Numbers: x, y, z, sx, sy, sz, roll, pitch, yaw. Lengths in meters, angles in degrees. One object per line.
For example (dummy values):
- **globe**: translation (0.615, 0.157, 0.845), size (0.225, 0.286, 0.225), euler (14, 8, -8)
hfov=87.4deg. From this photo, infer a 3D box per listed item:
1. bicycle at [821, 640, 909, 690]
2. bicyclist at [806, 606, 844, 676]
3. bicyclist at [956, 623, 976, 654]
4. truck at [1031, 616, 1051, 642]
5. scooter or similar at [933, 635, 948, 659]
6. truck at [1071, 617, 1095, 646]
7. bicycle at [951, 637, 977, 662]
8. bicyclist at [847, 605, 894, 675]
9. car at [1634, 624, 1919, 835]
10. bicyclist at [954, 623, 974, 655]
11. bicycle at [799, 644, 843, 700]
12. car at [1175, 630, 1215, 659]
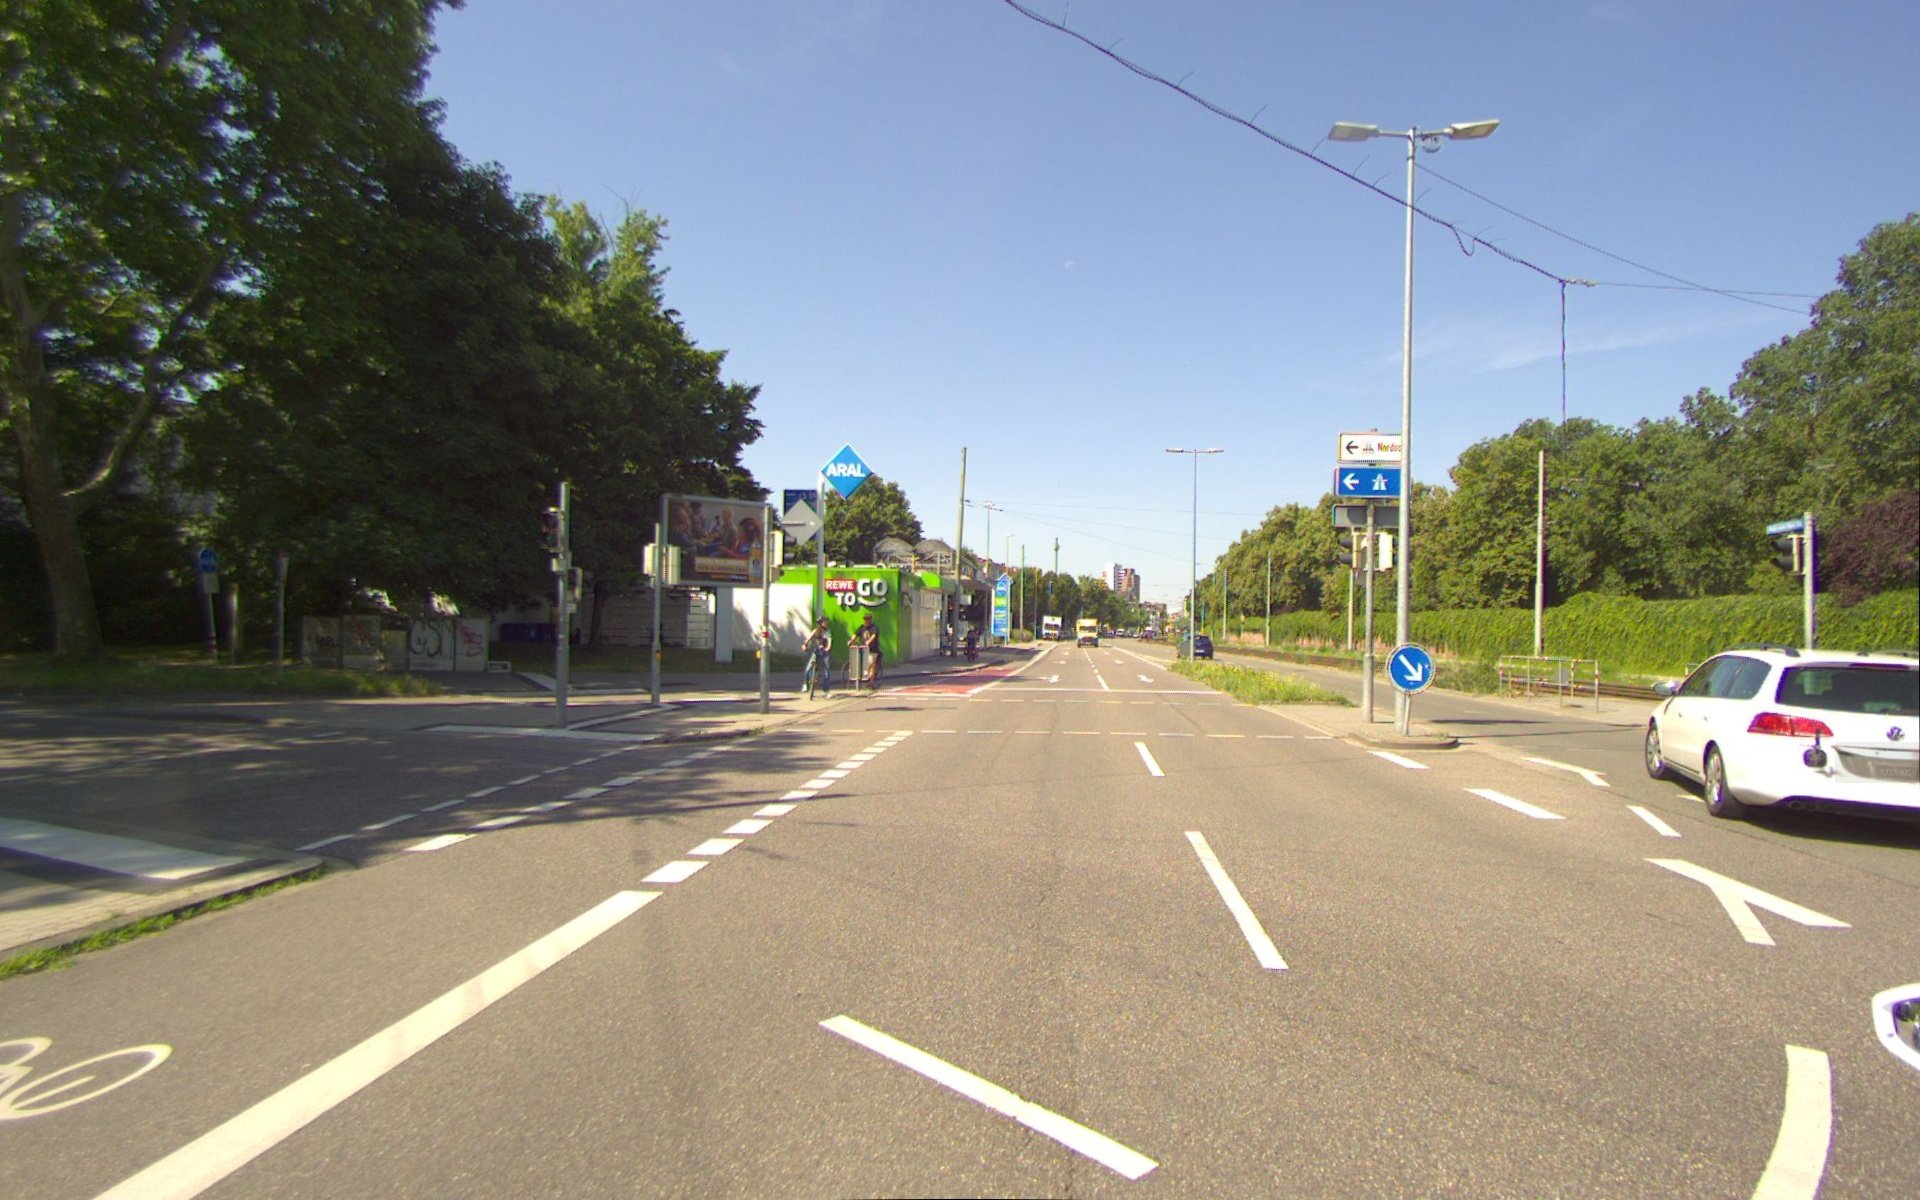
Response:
- **bicycle**: translation (-2.381, 1.619, 25.353), size (0.926, 1.190, 2.201), euler (0, -2, 39)
- **bicyclist**: translation (-2.872, 0.858, 21.448), size (0.696, 1.439, 0.739), euler (2, 0, -3)
- **bicyclist**: translation (0.296, 1.882, 48.921), size (0.832, 1.455, 0.833), euler (2, 0, 8)
- **truck**: translation (11.921, 4.339, 147.387), size (2.621, 3.576, 8.597), euler (2, -2, 6)
- **scooter or similar**: translation (-1.048, 2.488, 53.388), size (0.434, 1.253, 1.346), euler (0, -2, 15)
- **truck**: translation (12.086, 3.082, 98.898), size (2.290, 2.703, 7.365), euler (0, -2, 6)
- **bicycle**: translation (0.196, 2.413, 48.956), size (0.811, 1.109, 2.774), euler (5, -1, 8)
- **bicyclist**: translation (-2.237, 0.996, 25.182), size (0.823, 1.696, 0.825), euler (2, 0, 29)
- **car**: translation (7.609, 1.049, 9.274), size (1.665, 1.470, 4.455), euler (1, -2, 26)
- **bicyclist**: translation (0.179, 1.869, 48.089), size (0.832, 1.455, 0.833), euler (2, 0, 7)
- **bicycle**: translation (-2.914, 1.497, 21.256), size (0.738, 1.072, 2.075), euler (1, -2, -3)
- **car**: translation (13.523, 2.550, 58.043), size (1.770, 1.527, 4.003), euler (2, -1, 7)
